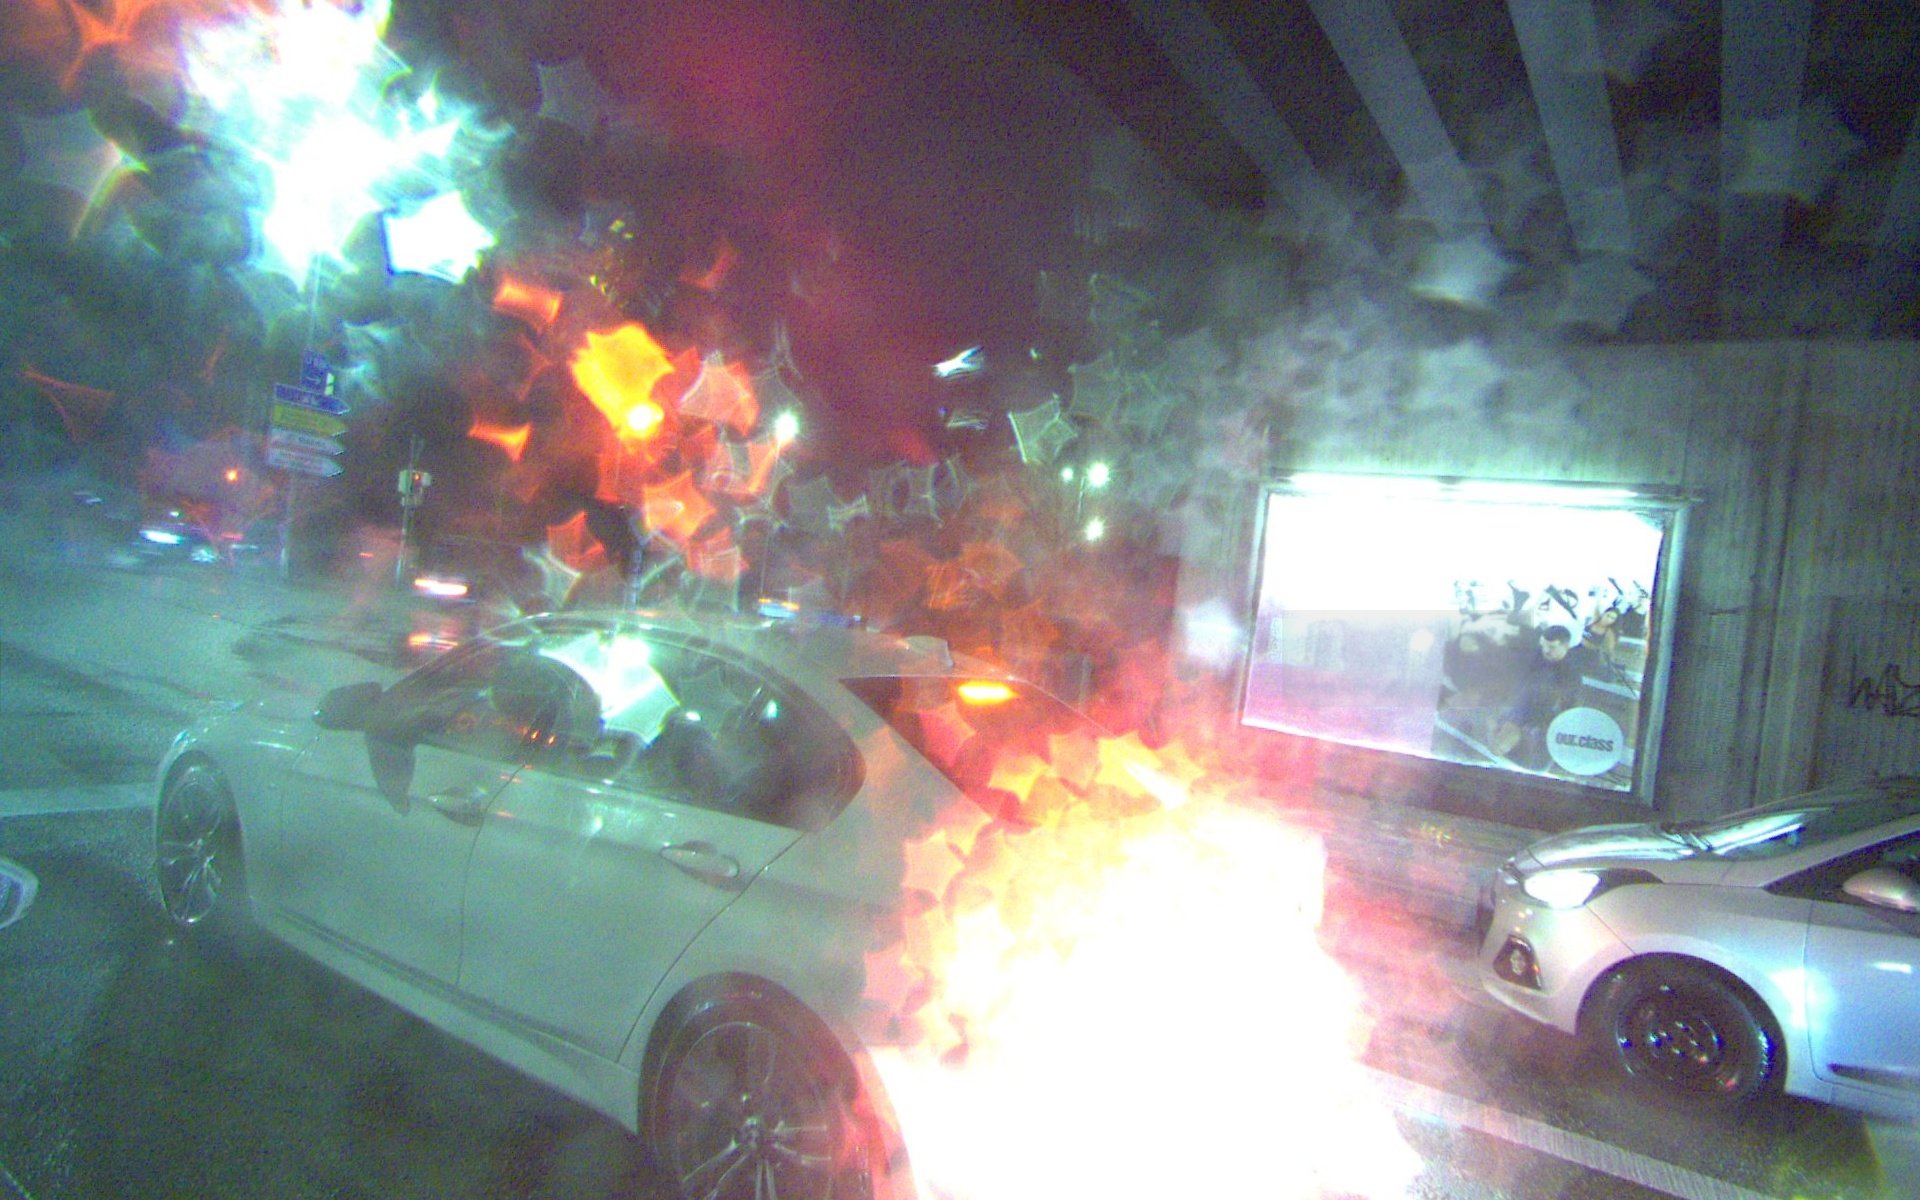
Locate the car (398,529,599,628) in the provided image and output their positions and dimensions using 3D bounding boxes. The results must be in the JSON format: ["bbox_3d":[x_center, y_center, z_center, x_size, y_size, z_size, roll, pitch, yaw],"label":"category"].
[{"bbox_3d":[-10.590,-0.445,23.303,1.696,1.754,3.755,6,-2,35],"label":"car"}]

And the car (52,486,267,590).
[{"bbox_3d":[-20.773,-1.564,26.200,1.973,2.037,3.982,6,-2,42],"label":"car"}]

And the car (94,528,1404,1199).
[{"bbox_3d":[-0.969,0.703,3.480,4.309,1.465,1.722,6,1,31],"label":"car"}]

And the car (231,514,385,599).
[{"bbox_3d":[-21.318,-1.395,32.969,2.185,2.241,3.627,6,-2,41],"label":"car"}]

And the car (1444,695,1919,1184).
[{"bbox_3d":[4.318,1.415,3.984,4.092,1.465,1.722,6,1,31],"label":"car"}]

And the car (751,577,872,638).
[{"bbox_3d":[-5.337,0.321,36.708,1.810,1.691,4.456,6,-2,32],"label":"car"}]

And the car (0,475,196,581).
[{"bbox_3d":[-18.246,-1.518,20.188,4.476,1.637,1.889,8,-2,-37],"label":"car"}]
